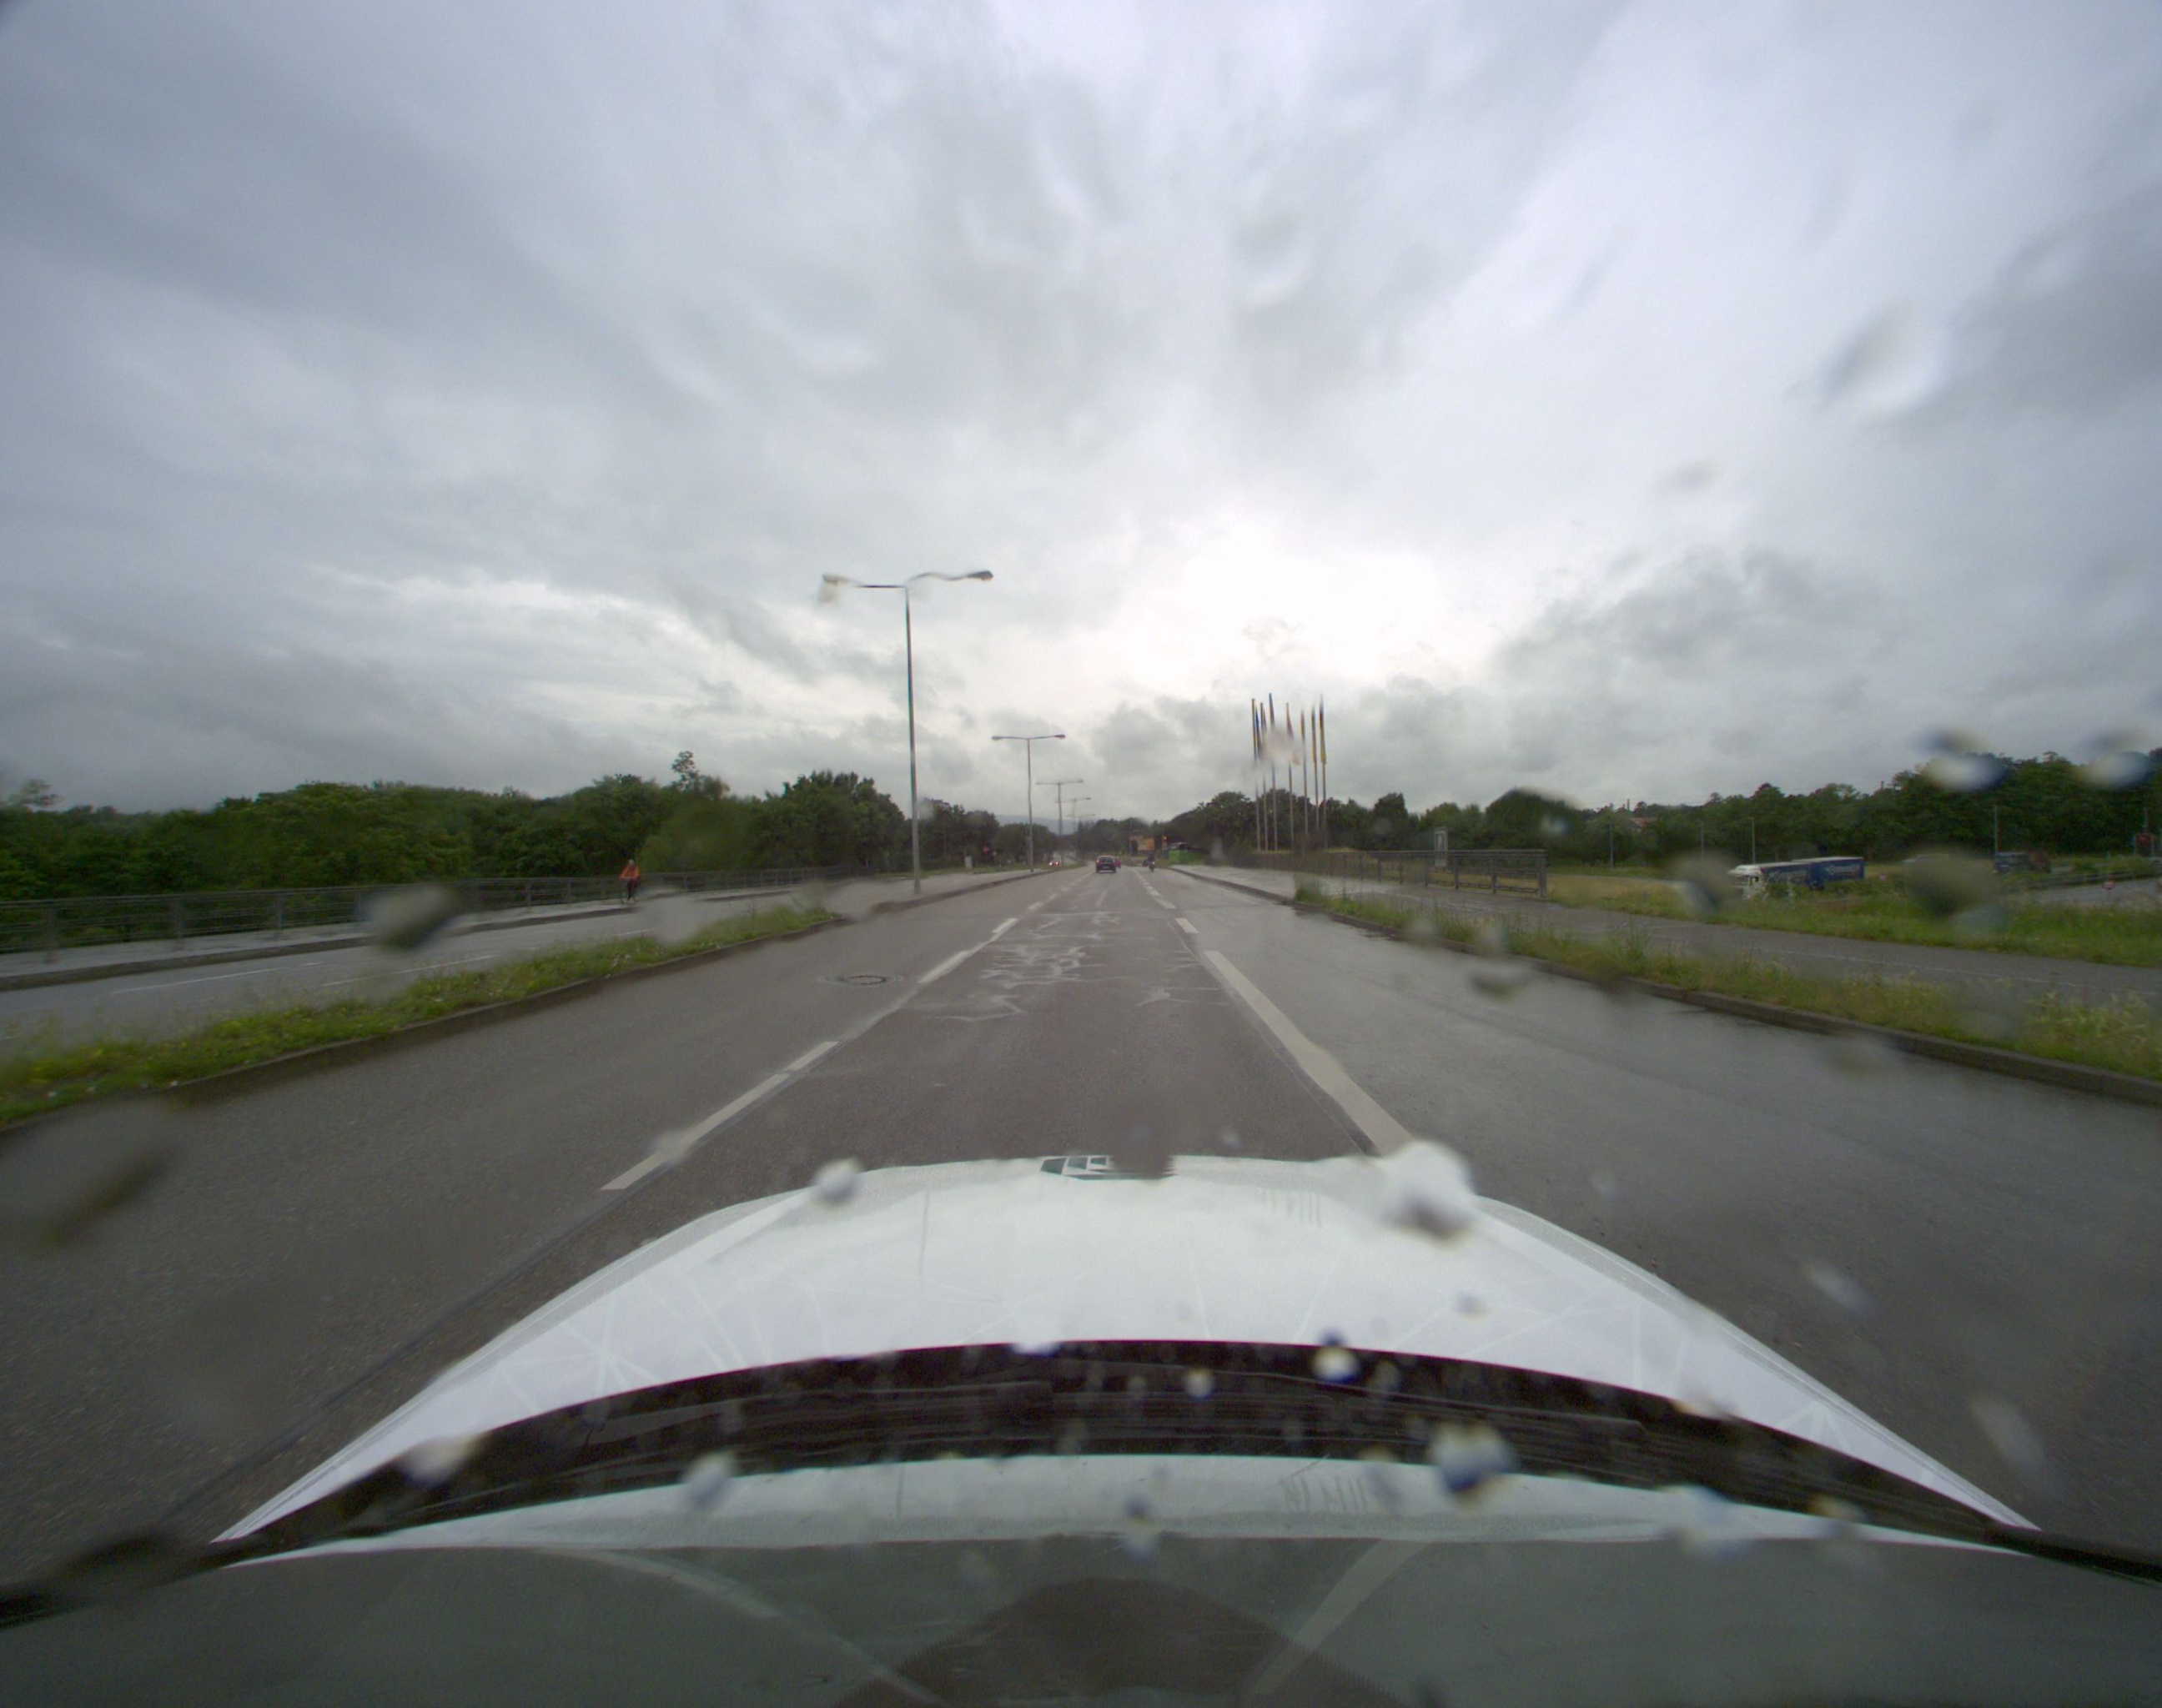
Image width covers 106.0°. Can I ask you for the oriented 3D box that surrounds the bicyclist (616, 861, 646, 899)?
[{"bbox_3d":[-18.266,1.043,33.051,0.617,1.500,1.003,0,-1,2],"label":"bicyclist"}]

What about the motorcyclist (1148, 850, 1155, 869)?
[{"bbox_3d":[6.315,0.479,73.078,0.599,1.690,0.860,-1,0,1],"label":"motorcyclist"}]

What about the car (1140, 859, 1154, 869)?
[{"bbox_3d":[10.310,1.592,127.773,1.848,1.618,3.999,0,-1,0],"label":"car"}]

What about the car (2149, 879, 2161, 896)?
[{"bbox_3d":[106.911,3.272,79.409,3.994,1.593,1.990,-1,0,-15],"label":"car"}]

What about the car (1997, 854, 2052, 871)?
[{"bbox_3d":[112.841,1.035,97.408,5.616,1.965,2.284,-1,0,-18],"label":"car"}]

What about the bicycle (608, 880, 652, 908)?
[{"bbox_3d":[-18.267,1.606,33.044,0.607,1.033,2.002,0,-1,2],"label":"bicycle"}]

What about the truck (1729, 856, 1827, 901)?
[{"bbox_3d":[71.521,2.433,83.519,10.943,4.301,2.552,-1,0,-20],"label":"truck"}]

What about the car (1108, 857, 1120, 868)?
[{"bbox_3d":[4.298,1.062,106.126,1.458,1.329,3.758,-1,0,1],"label":"car"}]

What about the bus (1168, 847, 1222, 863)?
[{"bbox_3d":[20.589,0.194,146.136,2.727,2.680,14.684,-1,-1,37],"label":"bus"}]

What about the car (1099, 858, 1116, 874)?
[{"bbox_3d":[2.238,0.983,69.423,1.458,1.329,3.758,-1,0,1],"label":"car"}]

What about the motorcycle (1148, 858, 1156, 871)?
[{"bbox_3d":[6.333,0.952,73.094,0.599,1.093,1.732,-1,0,1],"label":"motorcycle"}]

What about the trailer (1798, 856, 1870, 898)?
[{"bbox_3d":[80.146,2.410,86.683,7.372,4.301,2.552,-1,0,-20],"label":"trailer"}]
